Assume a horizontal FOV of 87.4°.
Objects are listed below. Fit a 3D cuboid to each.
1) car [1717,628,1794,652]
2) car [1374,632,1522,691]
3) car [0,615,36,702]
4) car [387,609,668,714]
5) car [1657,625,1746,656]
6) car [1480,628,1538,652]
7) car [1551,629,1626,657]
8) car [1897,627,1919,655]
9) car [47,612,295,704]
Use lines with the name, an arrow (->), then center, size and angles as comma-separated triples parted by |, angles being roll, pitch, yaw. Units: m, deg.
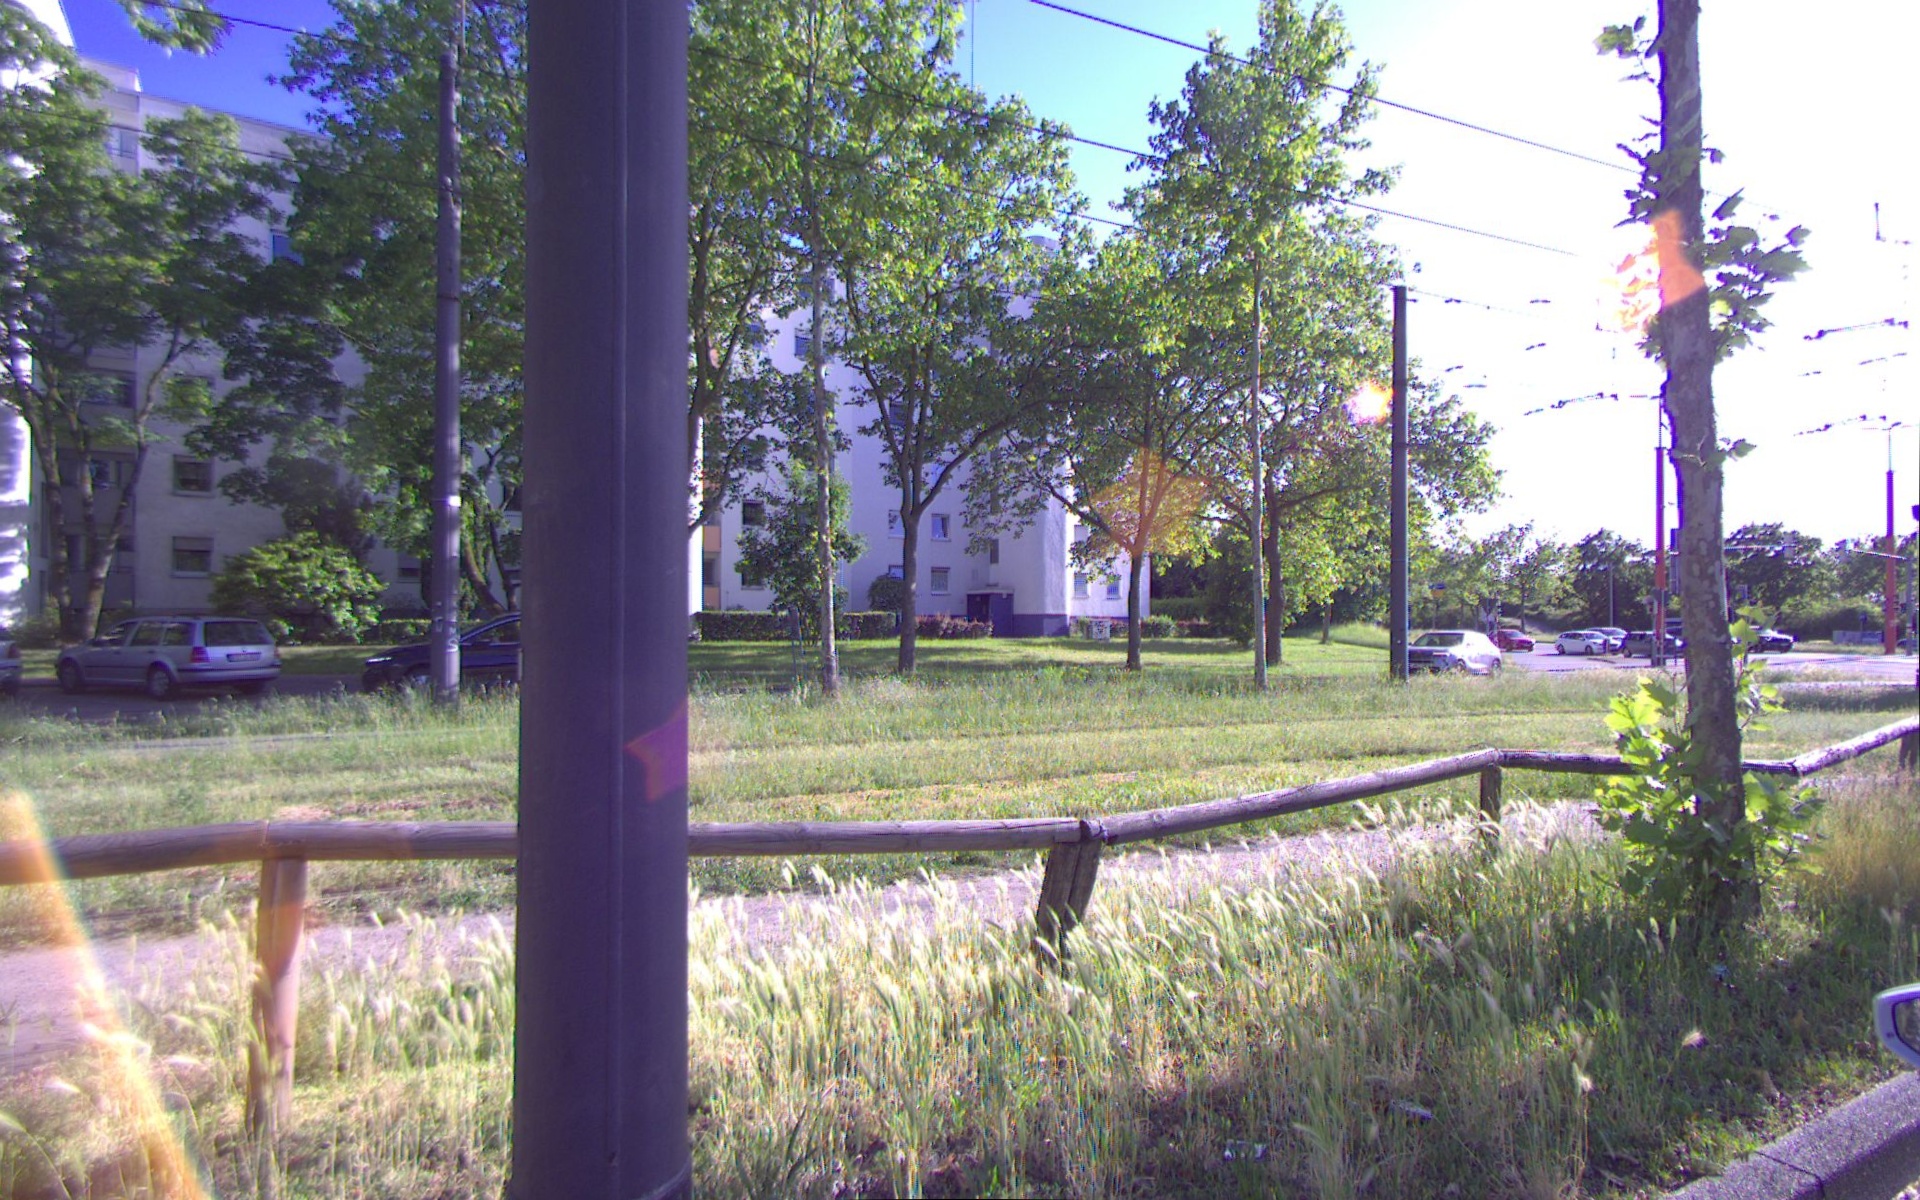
car -> 48.851, 2.456, 61.762 | 1.664, 1.347, 4.001 | 1, -1, 2
car -> 14.083, 1.726, 28.950 | 4.280, 1.543, 1.797 | 1, -1, -31
car -> -17.881, 0.969, 17.148 | 3.547, 1.439, 1.576 | 1, 0, 18
car -> -7.070, 0.946, 16.515 | 4.054, 1.532, 1.756 | 1, -1, -30
car -> 42.571, 2.309, 57.761 | 1.962, 1.666, 3.997 | 1, -1, -5
car -> 38.423, 2.769, 70.366 | 1.699, 1.533, 3.998 | 1, -1, -4
car -> 39.015, 2.655, 62.497 | 1.833, 1.633, 4.185 | 1, -1, -4
car -> 60.357, 2.561, 61.963 | 1.766, 1.678, 4.117 | 1, -1, 10
car -> -14.518, 1.008, 18.515 | 3.898, 1.462, 1.710 | 1, 0, 18
